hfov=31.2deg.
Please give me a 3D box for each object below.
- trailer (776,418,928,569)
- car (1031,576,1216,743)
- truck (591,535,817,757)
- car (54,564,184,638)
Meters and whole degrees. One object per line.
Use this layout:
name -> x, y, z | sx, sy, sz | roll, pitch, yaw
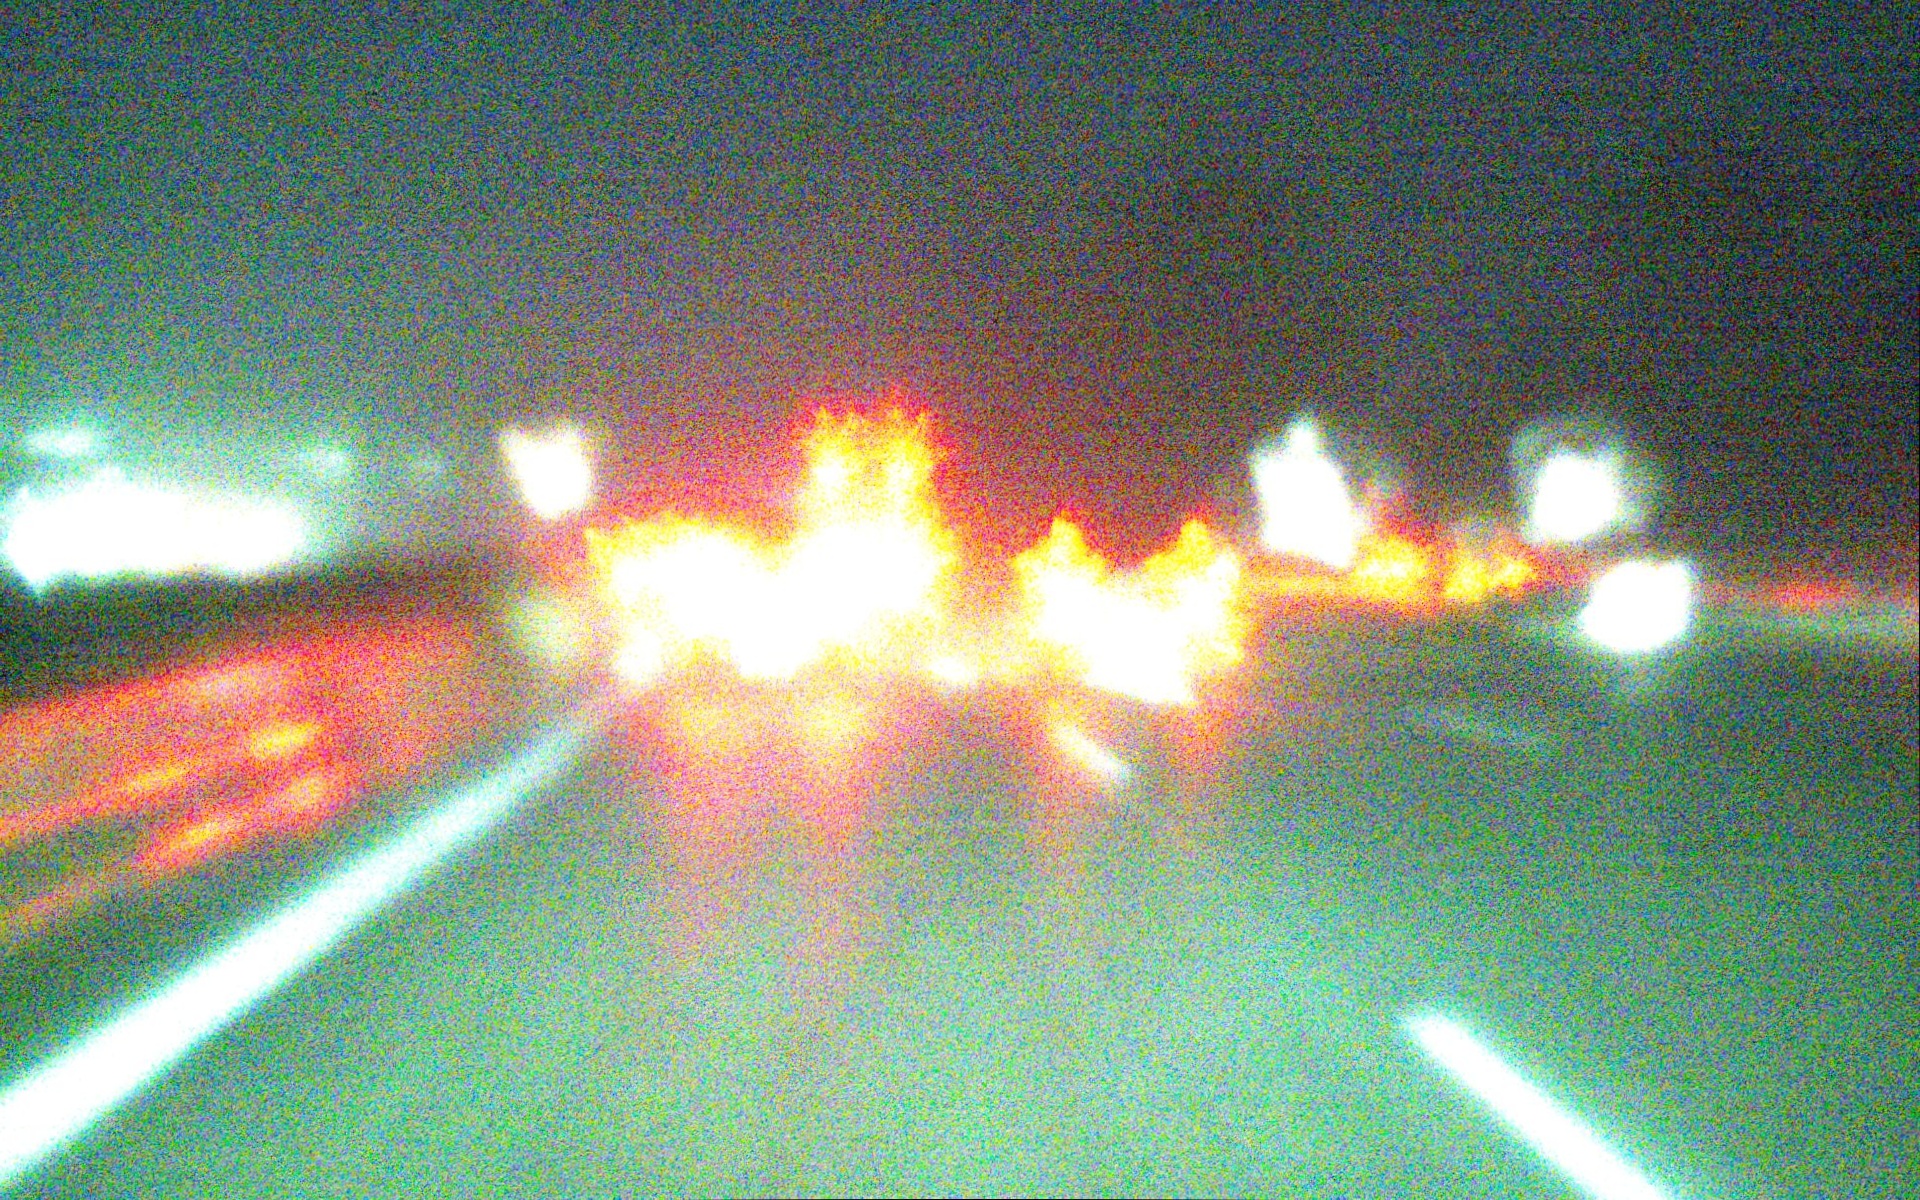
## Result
trailer -> -3.729, -3.681, 114.167 | 2.738, 4.232, 13.378 | -3, 5, -11
car -> 1.709, 0.592, 37.078 | 1.800, 1.612, 4.257 | -1, 1, 0
truck -> -2.714, 0.400, 37.620 | 2.145, 2.070, 6.605 | 3, 1, -3
car -> -18.556, 0.000, 76.013 | 2.124, 1.521, 4.001 | 1, 1, -4
